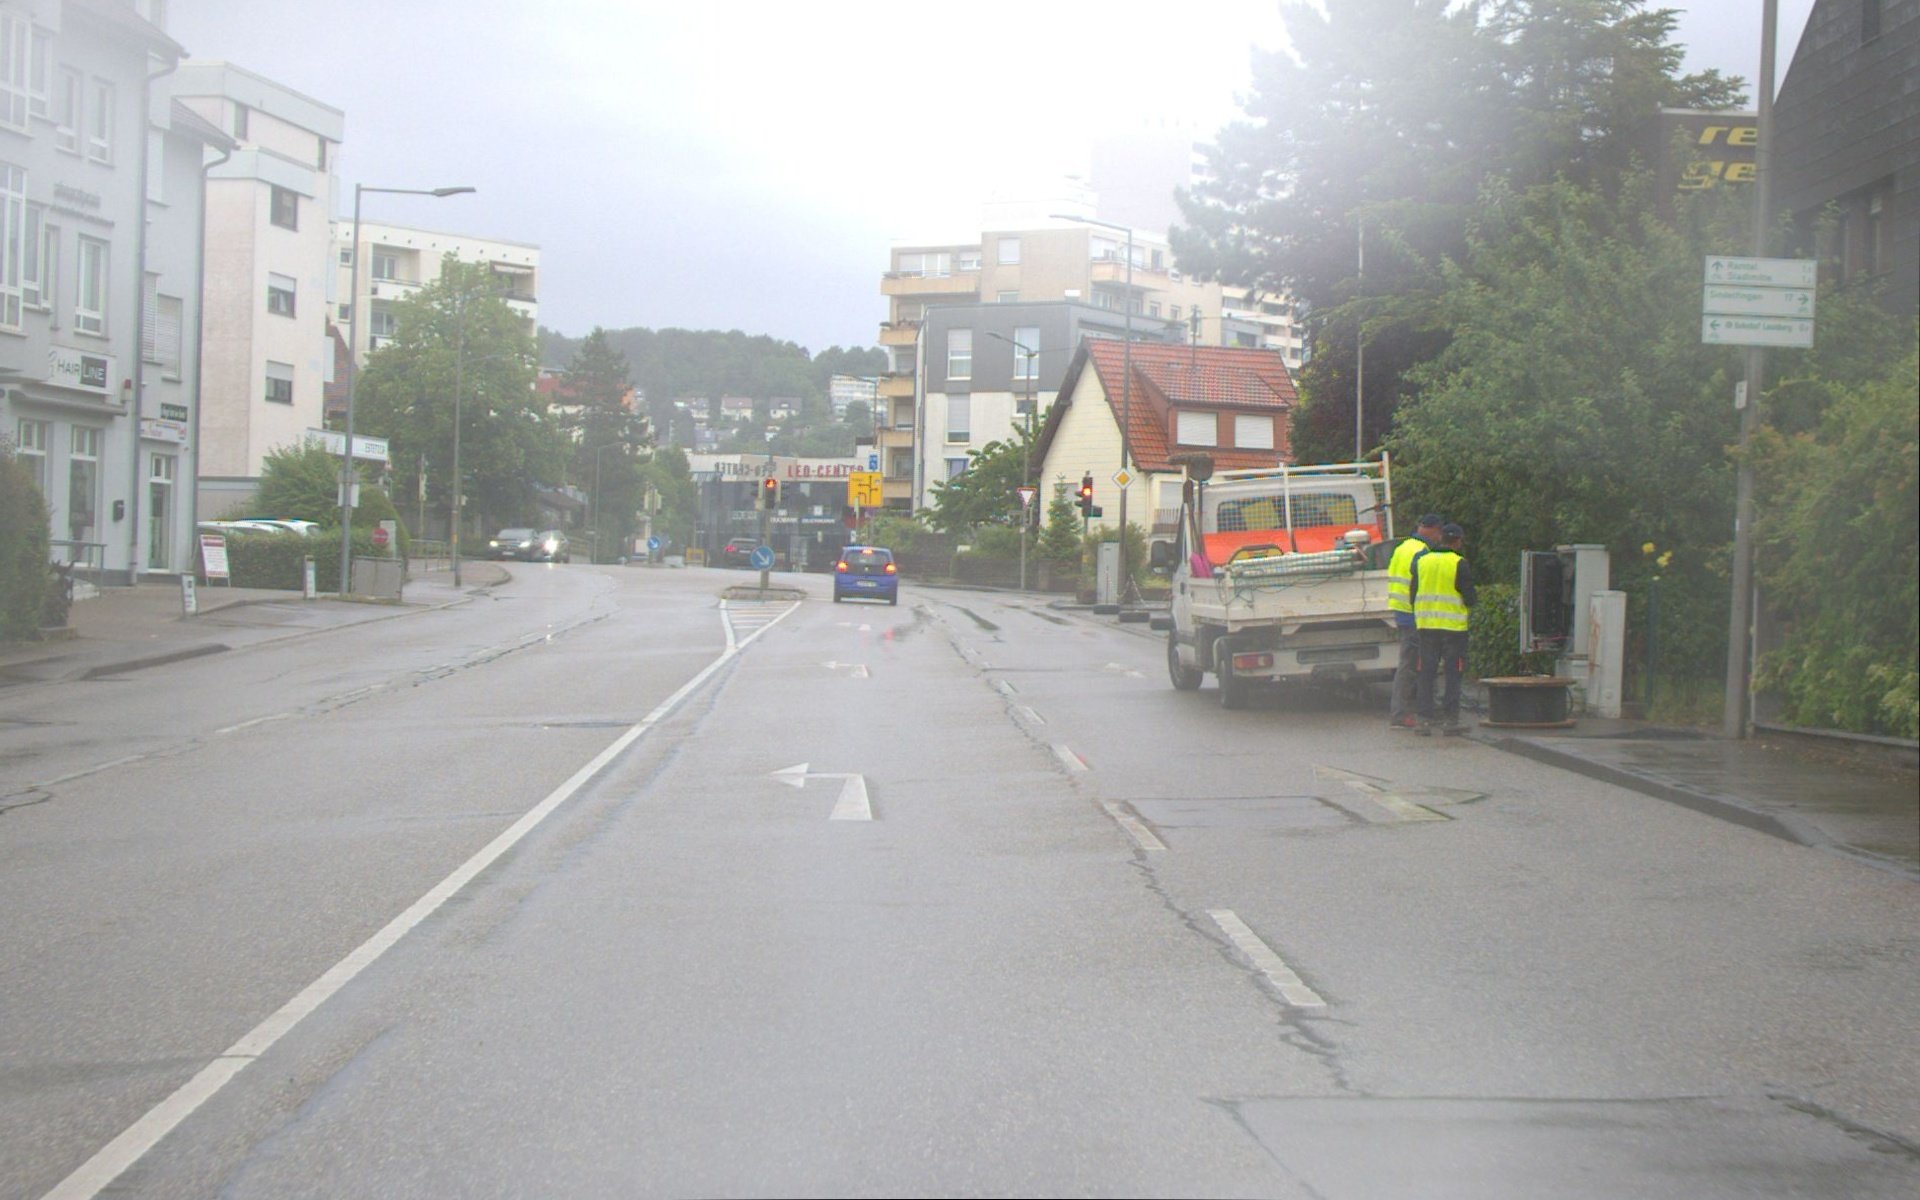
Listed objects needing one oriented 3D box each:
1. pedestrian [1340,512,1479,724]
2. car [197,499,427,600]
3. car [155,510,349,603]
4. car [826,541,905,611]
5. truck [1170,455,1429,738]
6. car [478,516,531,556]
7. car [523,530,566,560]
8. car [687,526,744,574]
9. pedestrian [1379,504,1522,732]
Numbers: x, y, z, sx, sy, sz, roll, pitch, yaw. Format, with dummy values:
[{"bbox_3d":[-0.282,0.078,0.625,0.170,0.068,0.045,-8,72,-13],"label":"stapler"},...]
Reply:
[{"bbox_3d":[3.706,0.144,28.388,0.822,1.720,0.841,1,0,-18],"label":"pedestrian"},{"bbox_3d":[-14.406,-1.113,76.506,4.525,2.007,1.999,3,1,14],"label":"car"},{"bbox_3d":[-16.815,-1.031,81.763,3.989,2.007,1.999,3,1,10],"label":"car"},{"bbox_3d":[-2.385,-0.625,87.710,1.794,1.664,4.000,3,1,1],"label":"car"},{"bbox_3d":[3.096,-0.018,32.108,1.994,2.295,3.999,6,0,3],"label":"truck"},{"bbox_3d":[-19.196,-2.675,145.001,1.659,1.458,4.000,6,0,-1],"label":"car"},{"bbox_3d":[-18.479,-2.443,153.010,1.437,1.231,4.000,3,1,-1],"label":"car"},{"bbox_3d":[-8.346,-1.681,117.470,1.579,1.433,4.000,6,0,-1],"label":"car"},{"bbox_3d":[3.922,0.142,27.505,0.822,1.791,0.800,1,0,-19],"label":"pedestrian"}]
